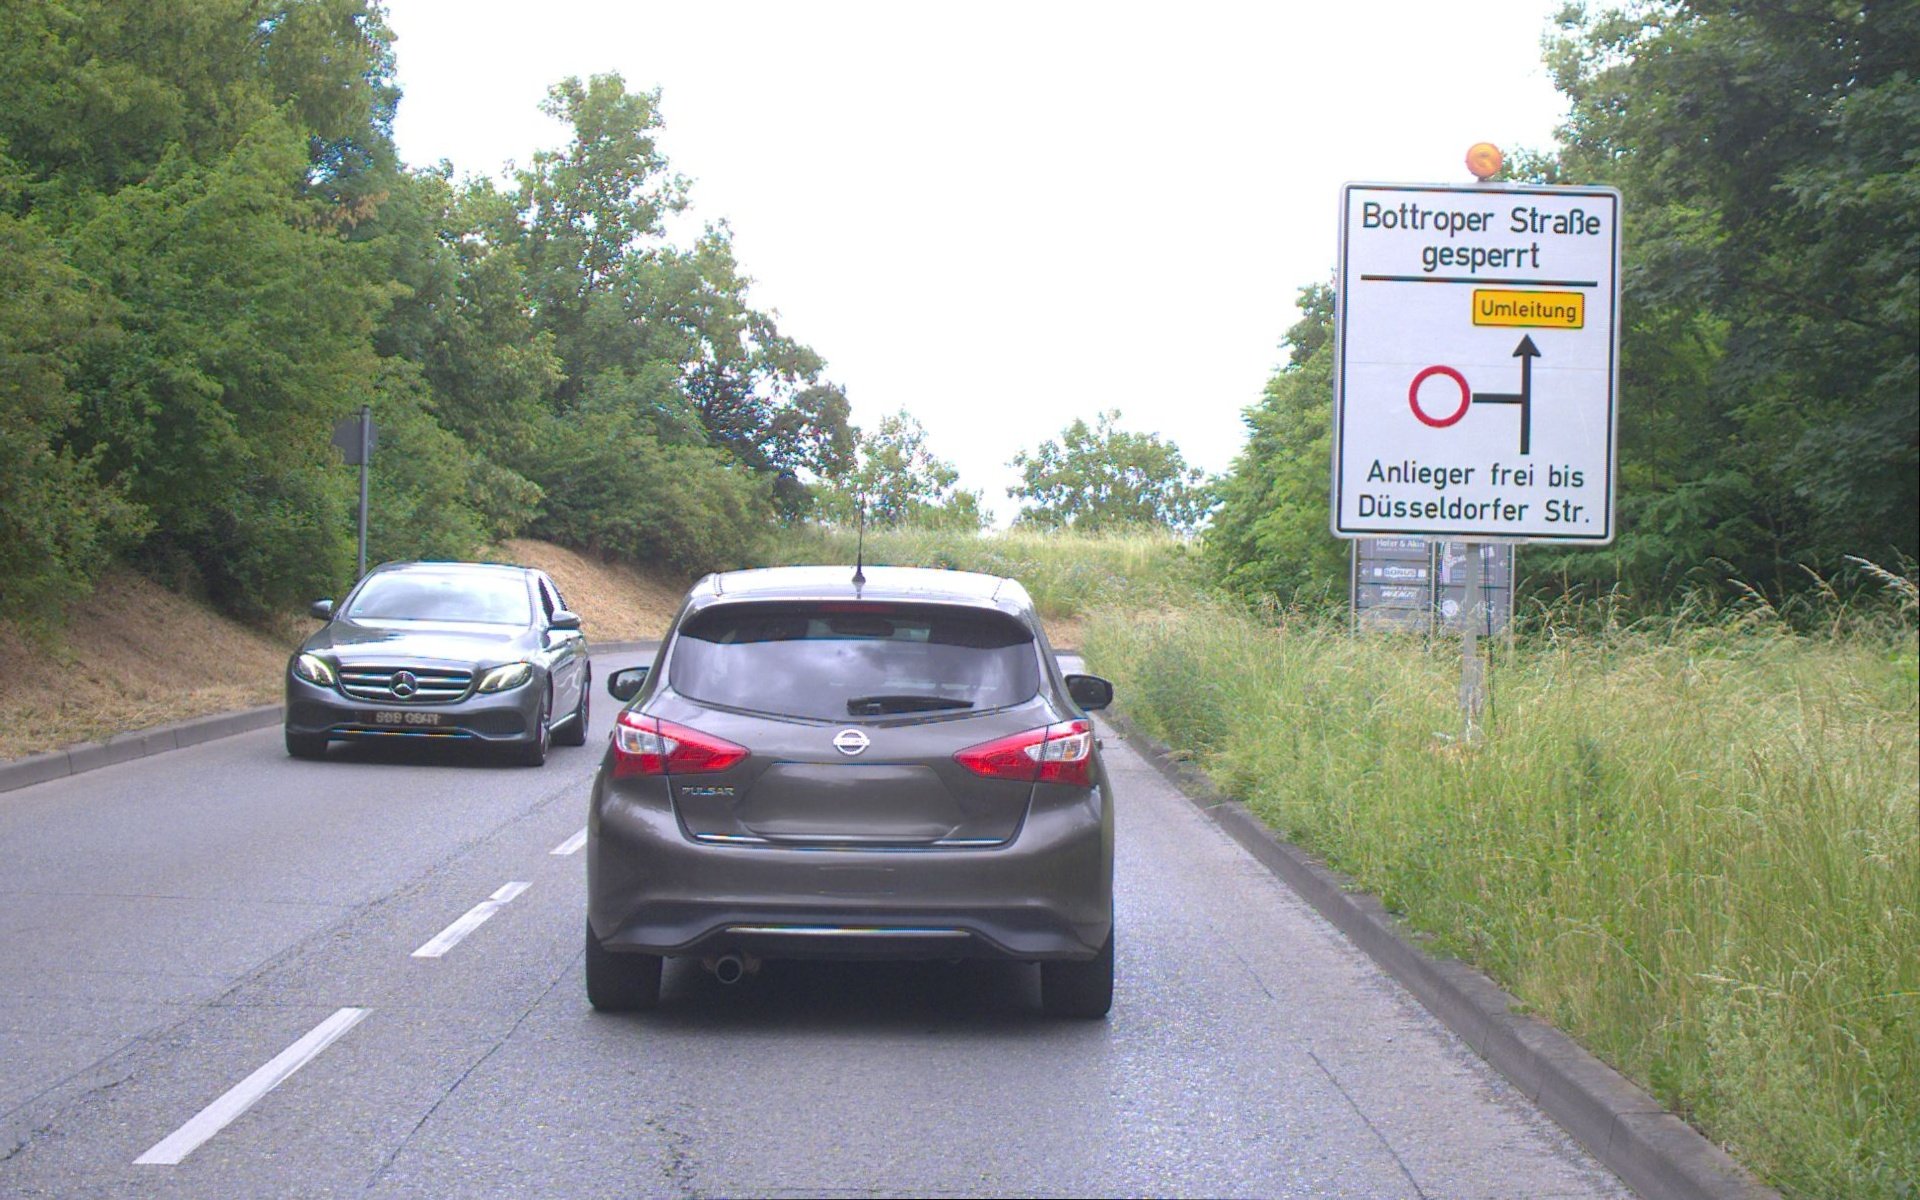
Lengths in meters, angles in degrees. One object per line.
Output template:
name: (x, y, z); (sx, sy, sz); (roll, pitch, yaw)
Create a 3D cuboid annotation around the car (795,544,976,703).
car: (-0.761, 0.212, 35.856); (1.721, 1.489, 3.577); (3, 1, -1)

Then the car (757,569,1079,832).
car: (-0.366, 0.560, 21.904); (1.844, 1.488, 4.228); (0, 1, -3)

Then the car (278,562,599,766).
car: (-3.875, 0.423, 26.228); (1.831, 1.401, 4.432); (0, 1, -1)

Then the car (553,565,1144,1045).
car: (-0.463, 0.629, 12.804); (1.844, 1.488, 4.001); (0, 1, -3)

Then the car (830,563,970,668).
car: (-0.889, 0.188, 48.677); (1.797, 1.393, 4.001); (1, 1, -3)
